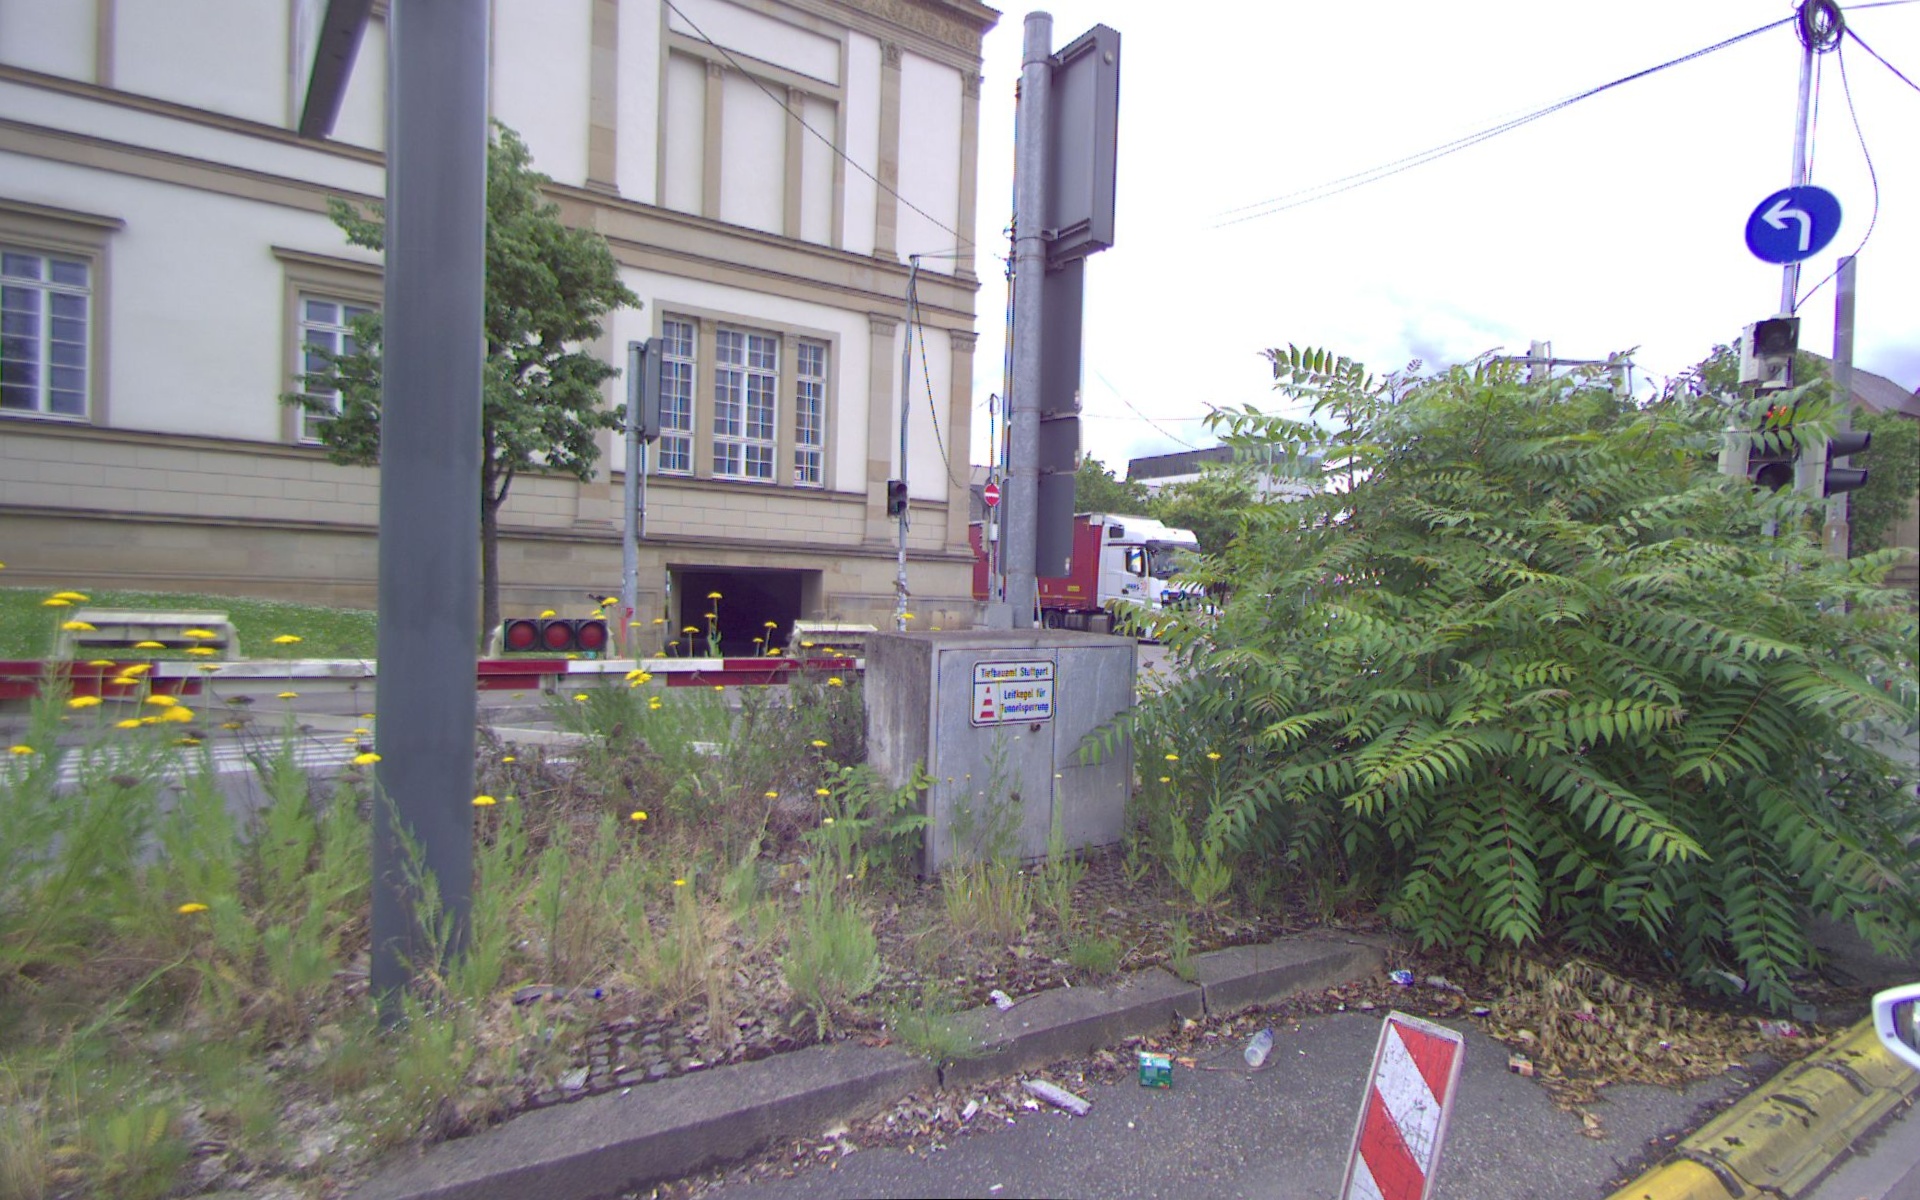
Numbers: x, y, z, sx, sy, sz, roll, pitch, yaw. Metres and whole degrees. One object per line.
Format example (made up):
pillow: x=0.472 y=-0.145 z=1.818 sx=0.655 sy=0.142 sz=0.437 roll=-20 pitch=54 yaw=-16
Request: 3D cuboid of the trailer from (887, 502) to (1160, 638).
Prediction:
trailer: x=1.778 y=-1.009 z=38.723 sx=2.916 sy=4.338 sz=13.662 roll=2 pitch=0 yaw=-33

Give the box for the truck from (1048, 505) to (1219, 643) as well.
truck: x=5.569 y=-0.768 z=32.841 sx=2.915 sy=4.118 sz=4.846 roll=2 pitch=0 yaw=-34
